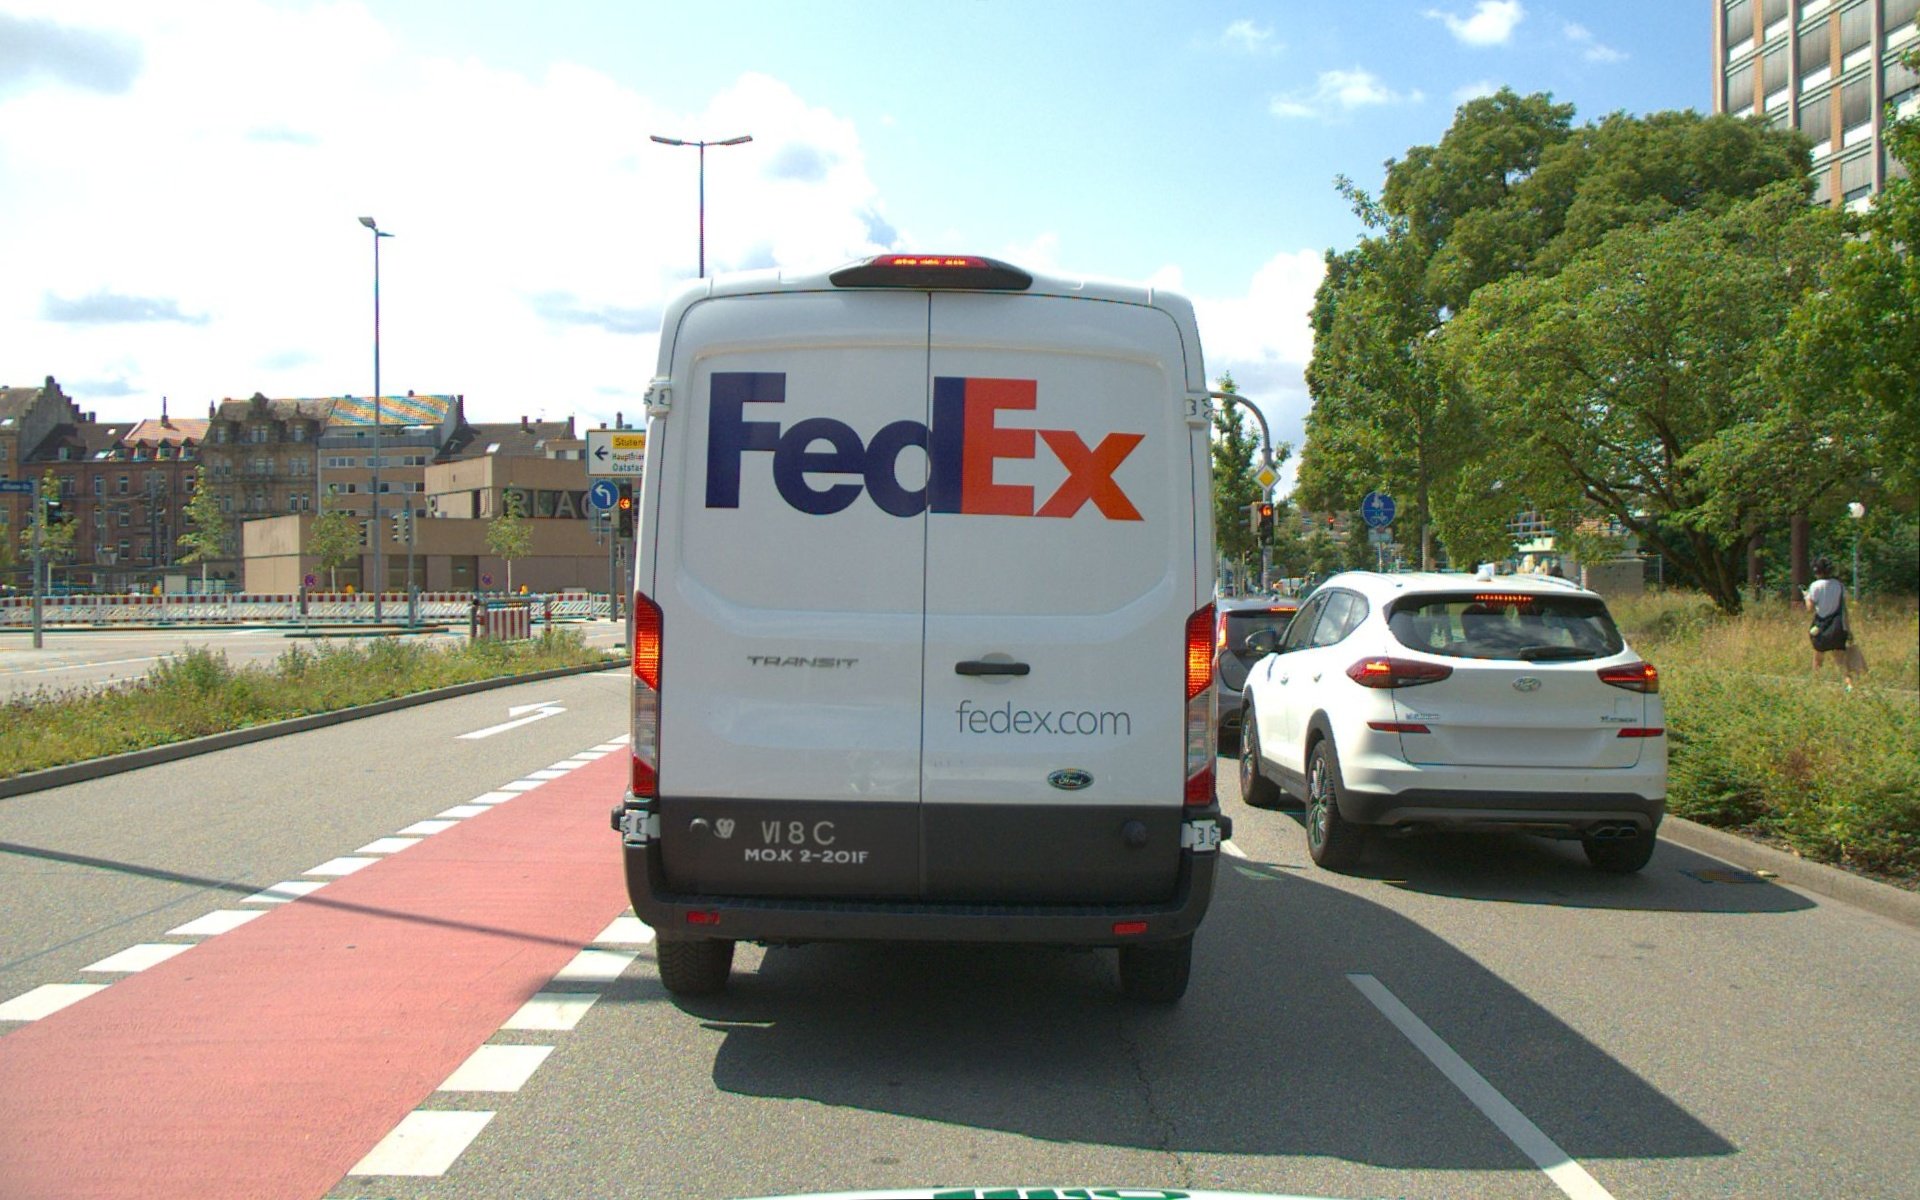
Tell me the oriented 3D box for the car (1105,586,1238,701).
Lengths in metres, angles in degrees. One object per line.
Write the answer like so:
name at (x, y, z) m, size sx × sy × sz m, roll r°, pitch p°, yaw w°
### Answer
car at (2.921, 0.557, 23.372) m, size 1.468 × 1.489 × 3.474 m, roll 0°, pitch 1°, yaw 1°

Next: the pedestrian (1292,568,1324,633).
pedestrian at (10.212, 0.000, 48.546) m, size 0.743 × 1.882 × 0.816 m, roll 0°, pitch 0°, yaw 1°

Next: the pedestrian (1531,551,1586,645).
pedestrian at (10.965, -0.037, 30.311) m, size 0.743 × 1.684 × 0.816 m, roll 0°, pitch 0°, yaw 3°

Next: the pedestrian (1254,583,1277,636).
pedestrian at (10.943, 0.341, 59.197) m, size 0.742 × 1.882 × 0.817 m, roll 0°, pitch 0°, yaw 14°

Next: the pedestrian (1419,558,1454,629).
pedestrian at (12.350, -0.160, 42.887) m, size 0.742 × 1.820 × 0.817 m, roll 0°, pitch 0°, yaw 7°

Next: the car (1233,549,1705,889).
car at (2.905, 0.580, 10.357) m, size 1.777 × 1.708 × 3.974 m, roll 0°, pitch 1°, yaw 1°

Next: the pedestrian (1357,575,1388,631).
pedestrian at (14.025, 0.089, 56.283) m, size 0.745 × 1.882 × 0.814 m, roll -1°, pitch 0°, yaw -11°

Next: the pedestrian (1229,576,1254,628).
pedestrian at (10.224, 0.063, 60.030) m, size 0.796 × 1.882 × 0.761 m, roll 0°, pitch 0°, yaw 2°

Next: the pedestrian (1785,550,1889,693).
pedestrian at (9.948, 0.235, 18.782) m, size 0.743 × 1.584 × 0.816 m, roll 0°, pitch 0°, yaw 0°

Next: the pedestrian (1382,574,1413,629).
pedestrian at (14.958, 0.040, 56.578) m, size 0.745 × 1.882 × 0.814 m, roll 0°, pitch 0°, yaw -9°

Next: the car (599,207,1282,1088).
car at (-0.030, 0.119, 7.167) m, size 2.030 × 2.626 × 4.428 m, roll 0°, pitch 1°, yaw 1°

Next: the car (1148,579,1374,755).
car at (2.934, 0.584, 16.827) m, size 1.656 × 1.576 × 3.721 m, roll 0°, pitch 1°, yaw 1°

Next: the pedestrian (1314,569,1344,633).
pedestrian at (10.960, 0.023, 49.119) m, size 0.743 × 1.882 × 0.816 m, roll 0°, pitch 0°, yaw 3°
